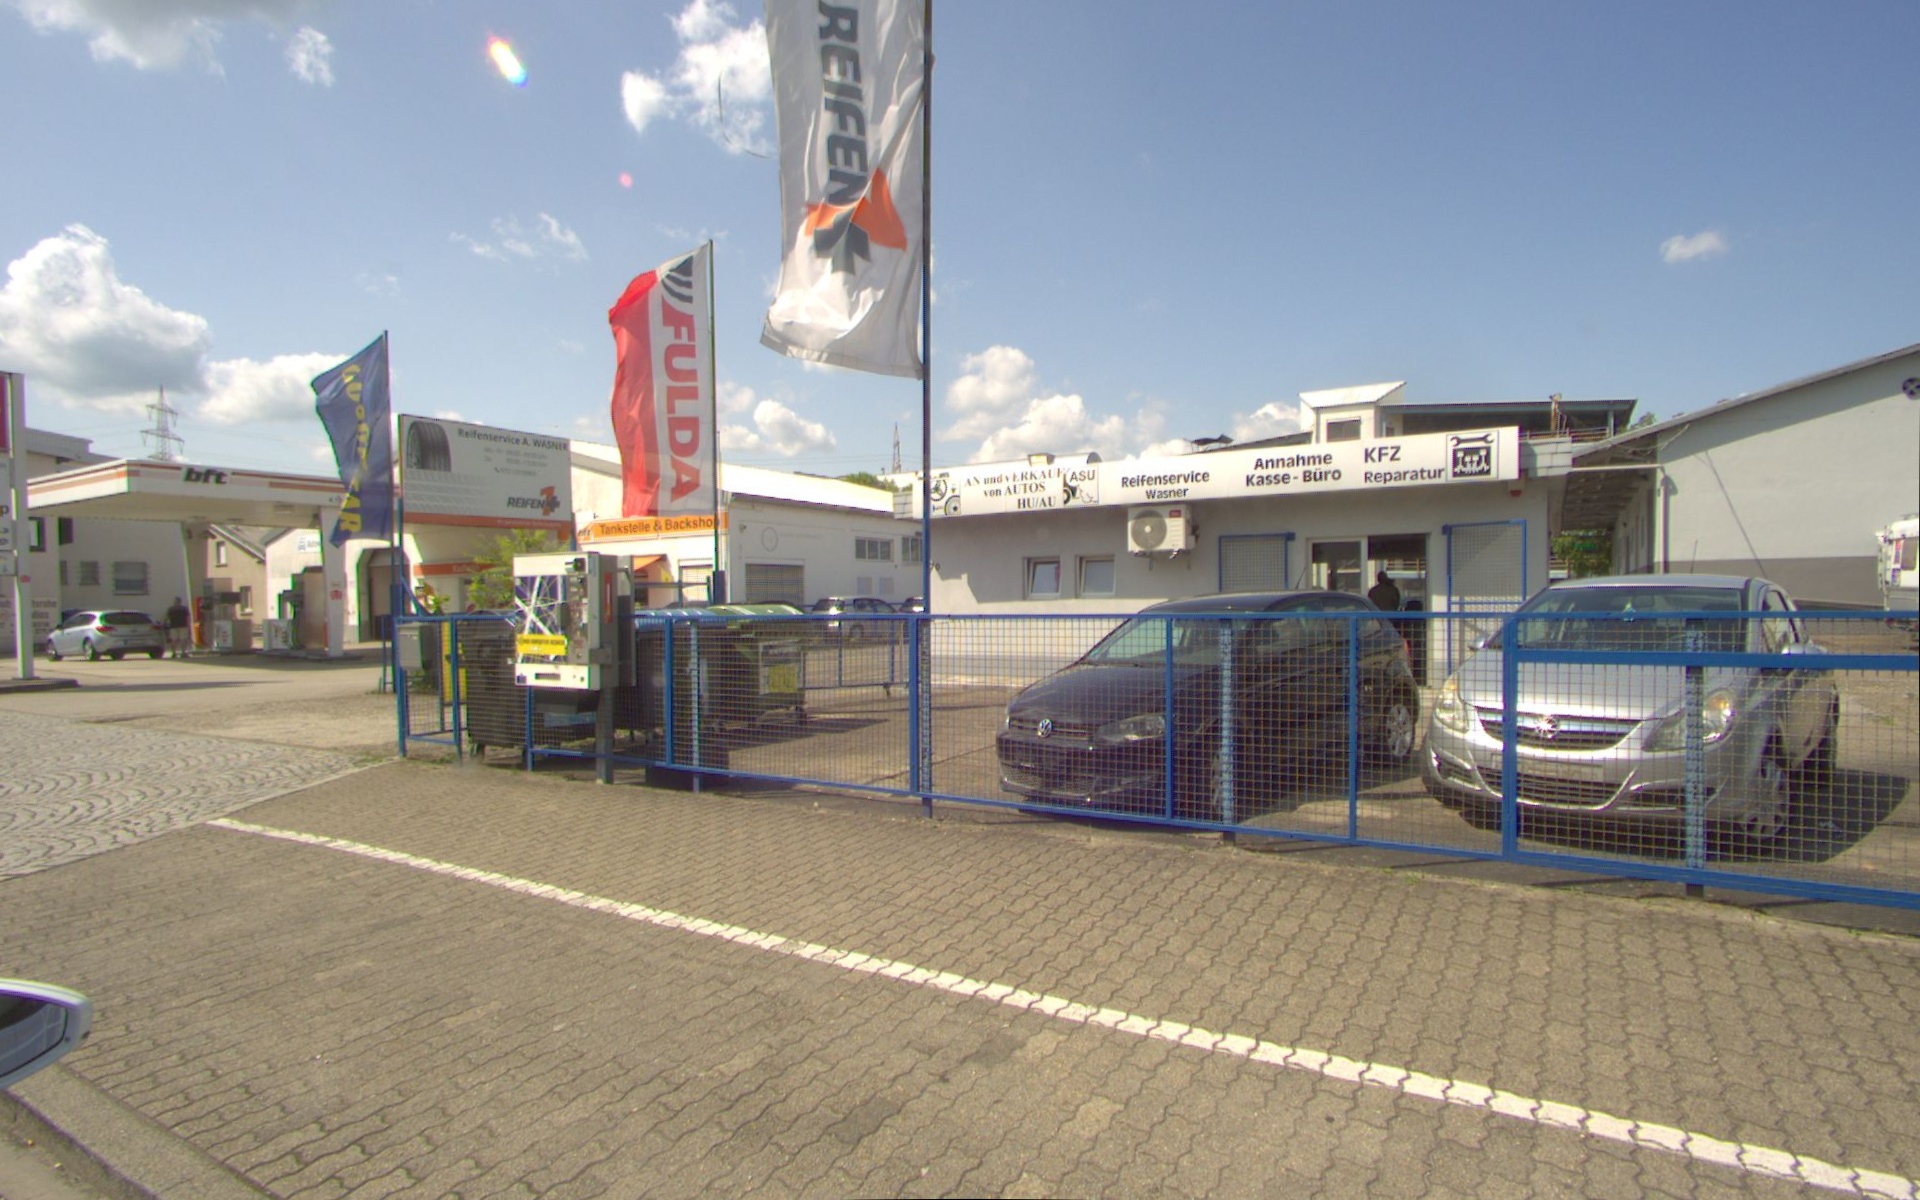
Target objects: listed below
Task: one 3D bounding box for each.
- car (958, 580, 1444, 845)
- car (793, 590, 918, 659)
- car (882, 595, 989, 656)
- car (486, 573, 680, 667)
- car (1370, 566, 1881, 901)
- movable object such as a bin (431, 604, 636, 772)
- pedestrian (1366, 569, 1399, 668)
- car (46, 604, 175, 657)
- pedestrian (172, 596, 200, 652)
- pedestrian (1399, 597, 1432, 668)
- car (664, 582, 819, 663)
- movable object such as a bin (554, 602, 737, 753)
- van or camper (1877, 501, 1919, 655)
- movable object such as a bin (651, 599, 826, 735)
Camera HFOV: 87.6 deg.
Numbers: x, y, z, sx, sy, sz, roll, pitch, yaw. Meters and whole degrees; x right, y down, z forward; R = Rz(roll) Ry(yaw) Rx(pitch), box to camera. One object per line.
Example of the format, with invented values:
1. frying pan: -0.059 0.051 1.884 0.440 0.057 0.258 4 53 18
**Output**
1. car: 2.014 0.625 7.647 3.962 1.499 1.705 -1 1 -43
2. car: -3.265 0.726 31.987 1.971 2.040 3.979 0 0 32
3. car: -0.805 0.861 35.876 1.971 2.040 3.979 0 0 32
4. car: -8.914 0.434 23.981 1.971 2.040 3.979 0 0 32
5. car: 4.501 0.585 6.511 4.104 1.499 1.787 -1 0 -42
6. movable object such as a bin: -4.133 0.783 9.744 1.434 1.473 1.224 0 1 31
7. pedestrian: 7.417 0.323 17.583 0.480 1.710 0.499 0 1 30
8. car: -25.835 0.889 30.433 3.950 1.499 1.829 -1 1 31
9. pedestrian: -23.741 0.729 30.714 0.628 1.705 0.618 -1 1 -36
10. pedestrian: 7.978 0.560 17.524 0.480 1.229 0.499 0 1 30
11. car: -5.949 0.570 27.635 1.971 2.040 3.979 0 0 32
12. movable object such as a bin: -3.372 0.774 10.784 1.434 1.473 1.224 0 1 31
13. van or camper: 21.346 -0.462 19.320 4.983 3.002 2.276 0 1 31
14. movable object such as a bin: -2.606 0.741 11.899 1.433 1.473 1.427 0 1 31
